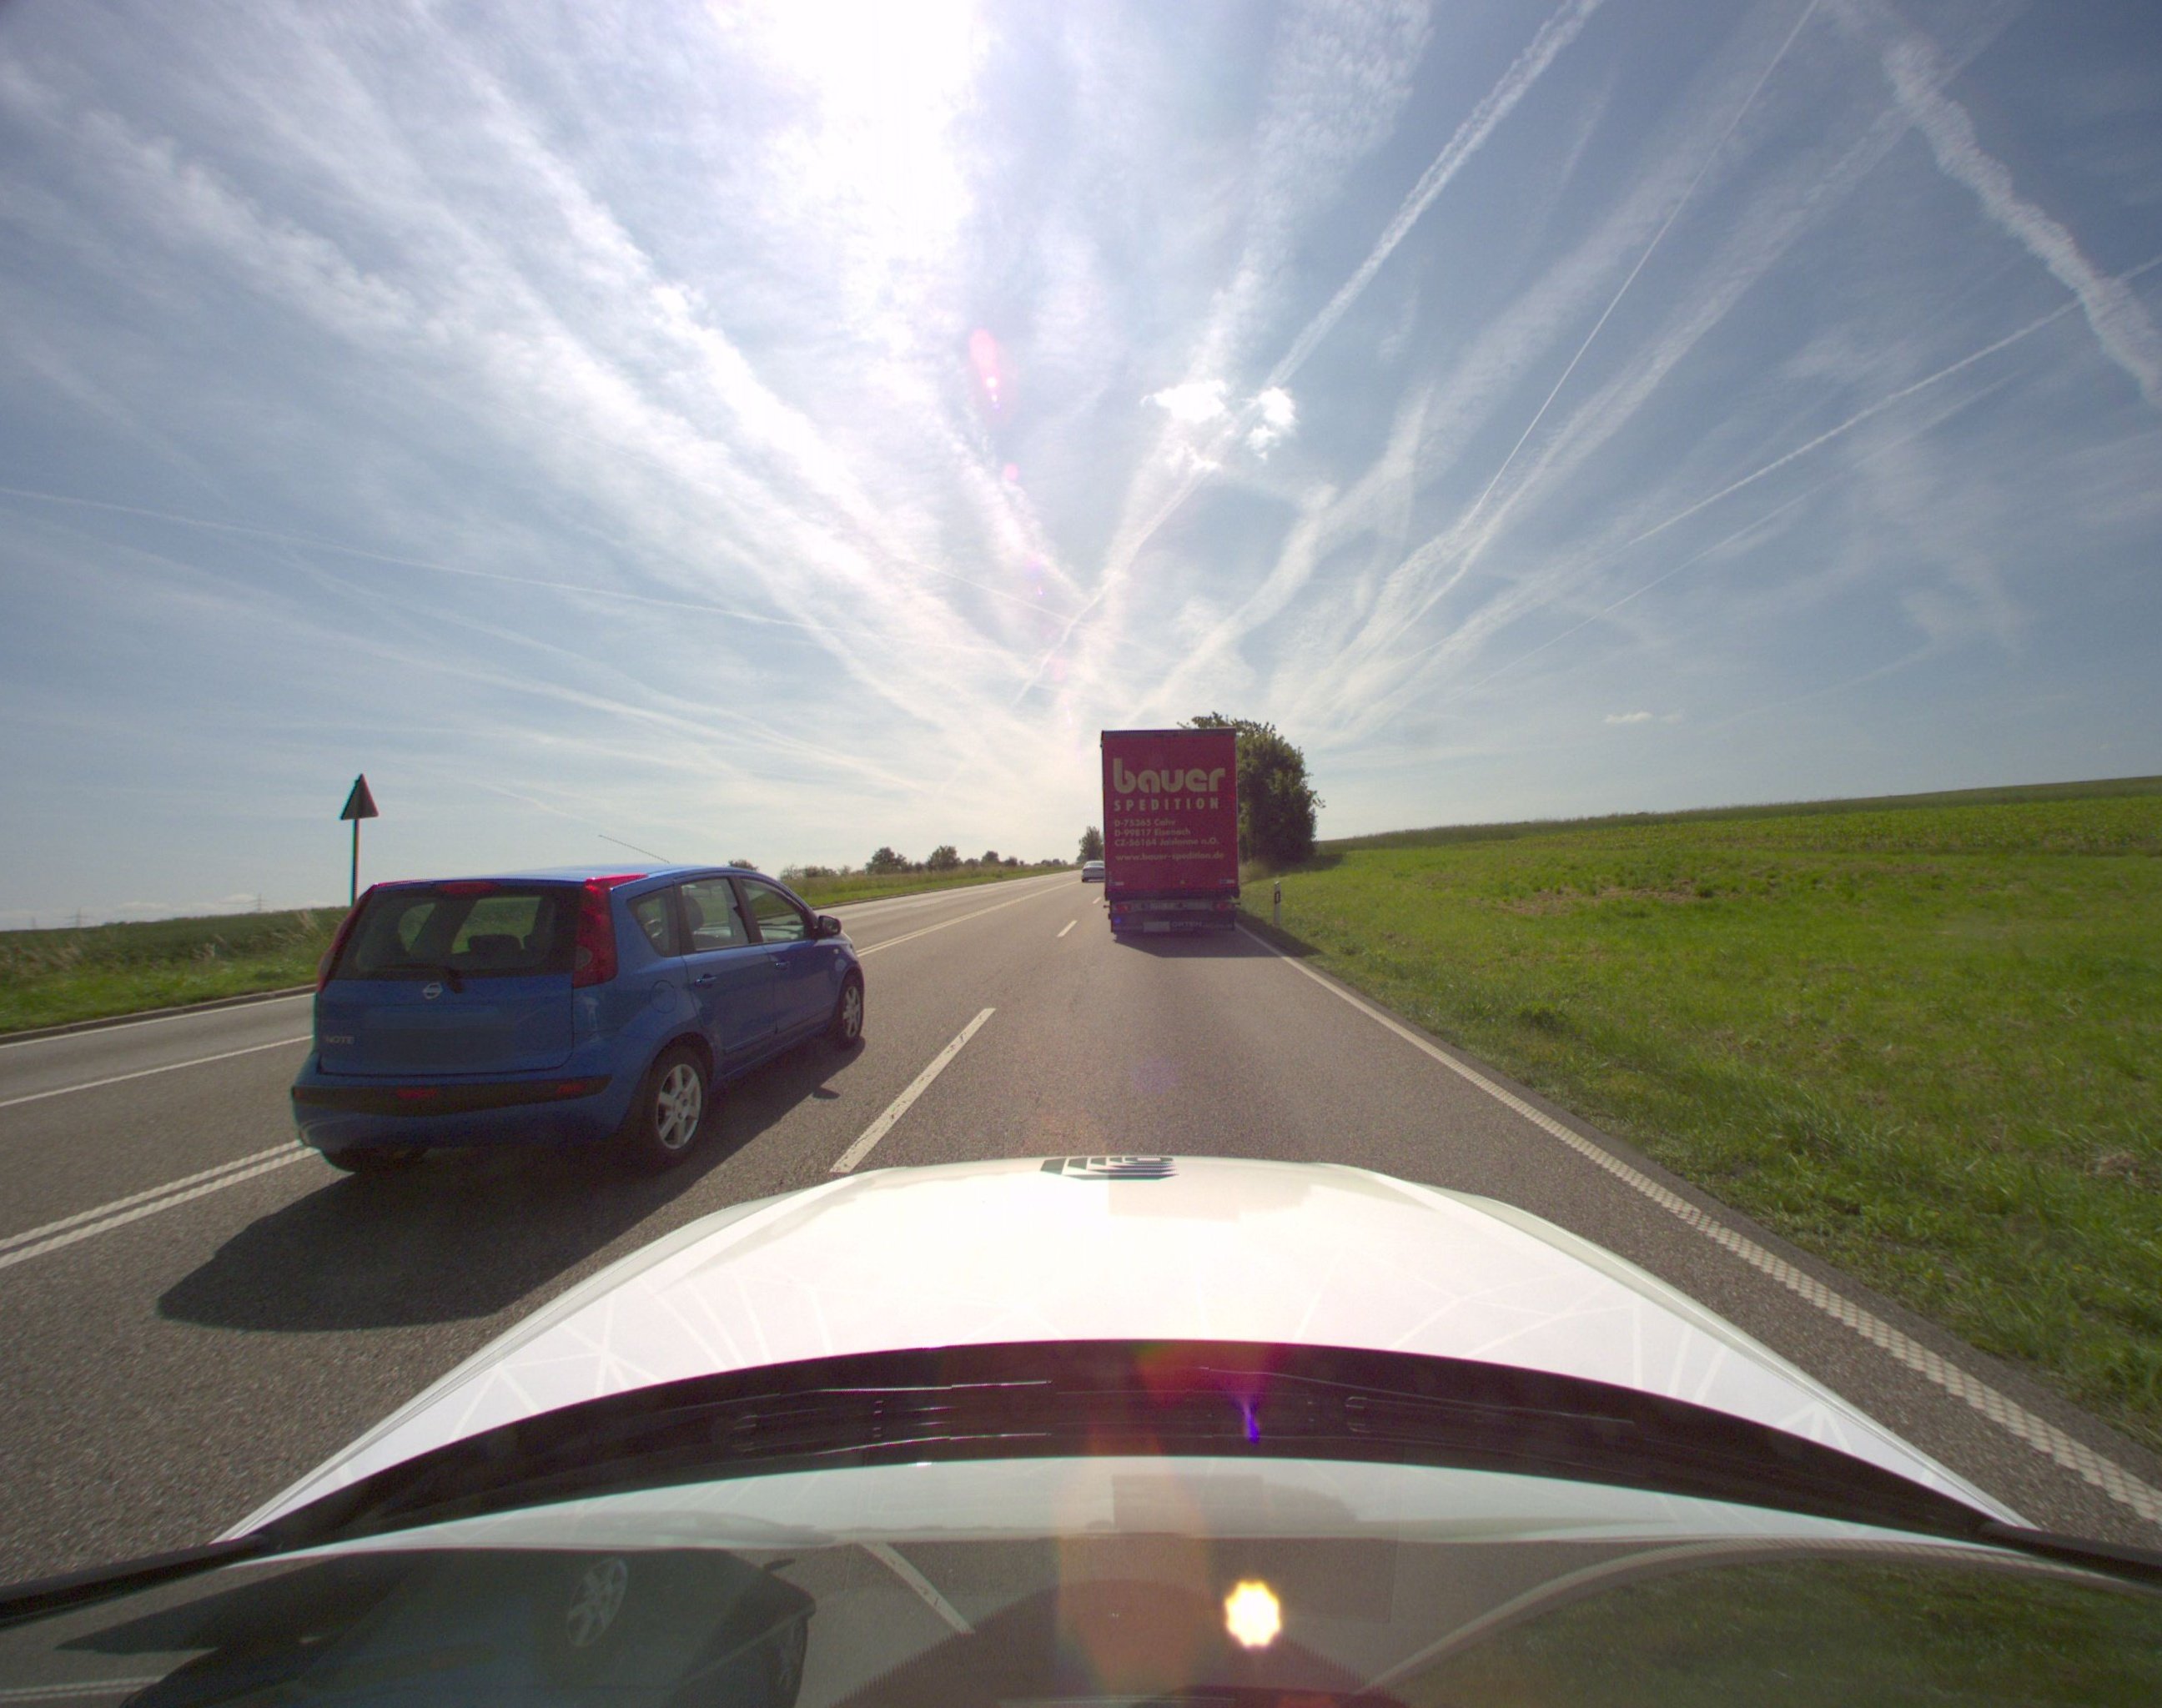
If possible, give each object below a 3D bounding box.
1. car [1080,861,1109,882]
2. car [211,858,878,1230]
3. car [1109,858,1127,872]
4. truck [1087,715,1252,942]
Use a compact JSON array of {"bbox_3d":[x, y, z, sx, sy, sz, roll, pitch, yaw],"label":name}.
[{"bbox_3d":[0.969,1.167,55.418,1.695,1.376,4.608,-1,0,4],"label":"car"},{"bbox_3d":[-2.742,0.805,5.357,1.625,1.531,3.918,-1,0,3],"label":"car"},{"bbox_3d":[4.051,1.210,88.583,1.812,1.472,4.794,0,0,4],"label":"car"},{"bbox_3d":[1.900,-0.436,23.519,2.996,4.180,16.720,-1,0,2],"label":"truck"}]
